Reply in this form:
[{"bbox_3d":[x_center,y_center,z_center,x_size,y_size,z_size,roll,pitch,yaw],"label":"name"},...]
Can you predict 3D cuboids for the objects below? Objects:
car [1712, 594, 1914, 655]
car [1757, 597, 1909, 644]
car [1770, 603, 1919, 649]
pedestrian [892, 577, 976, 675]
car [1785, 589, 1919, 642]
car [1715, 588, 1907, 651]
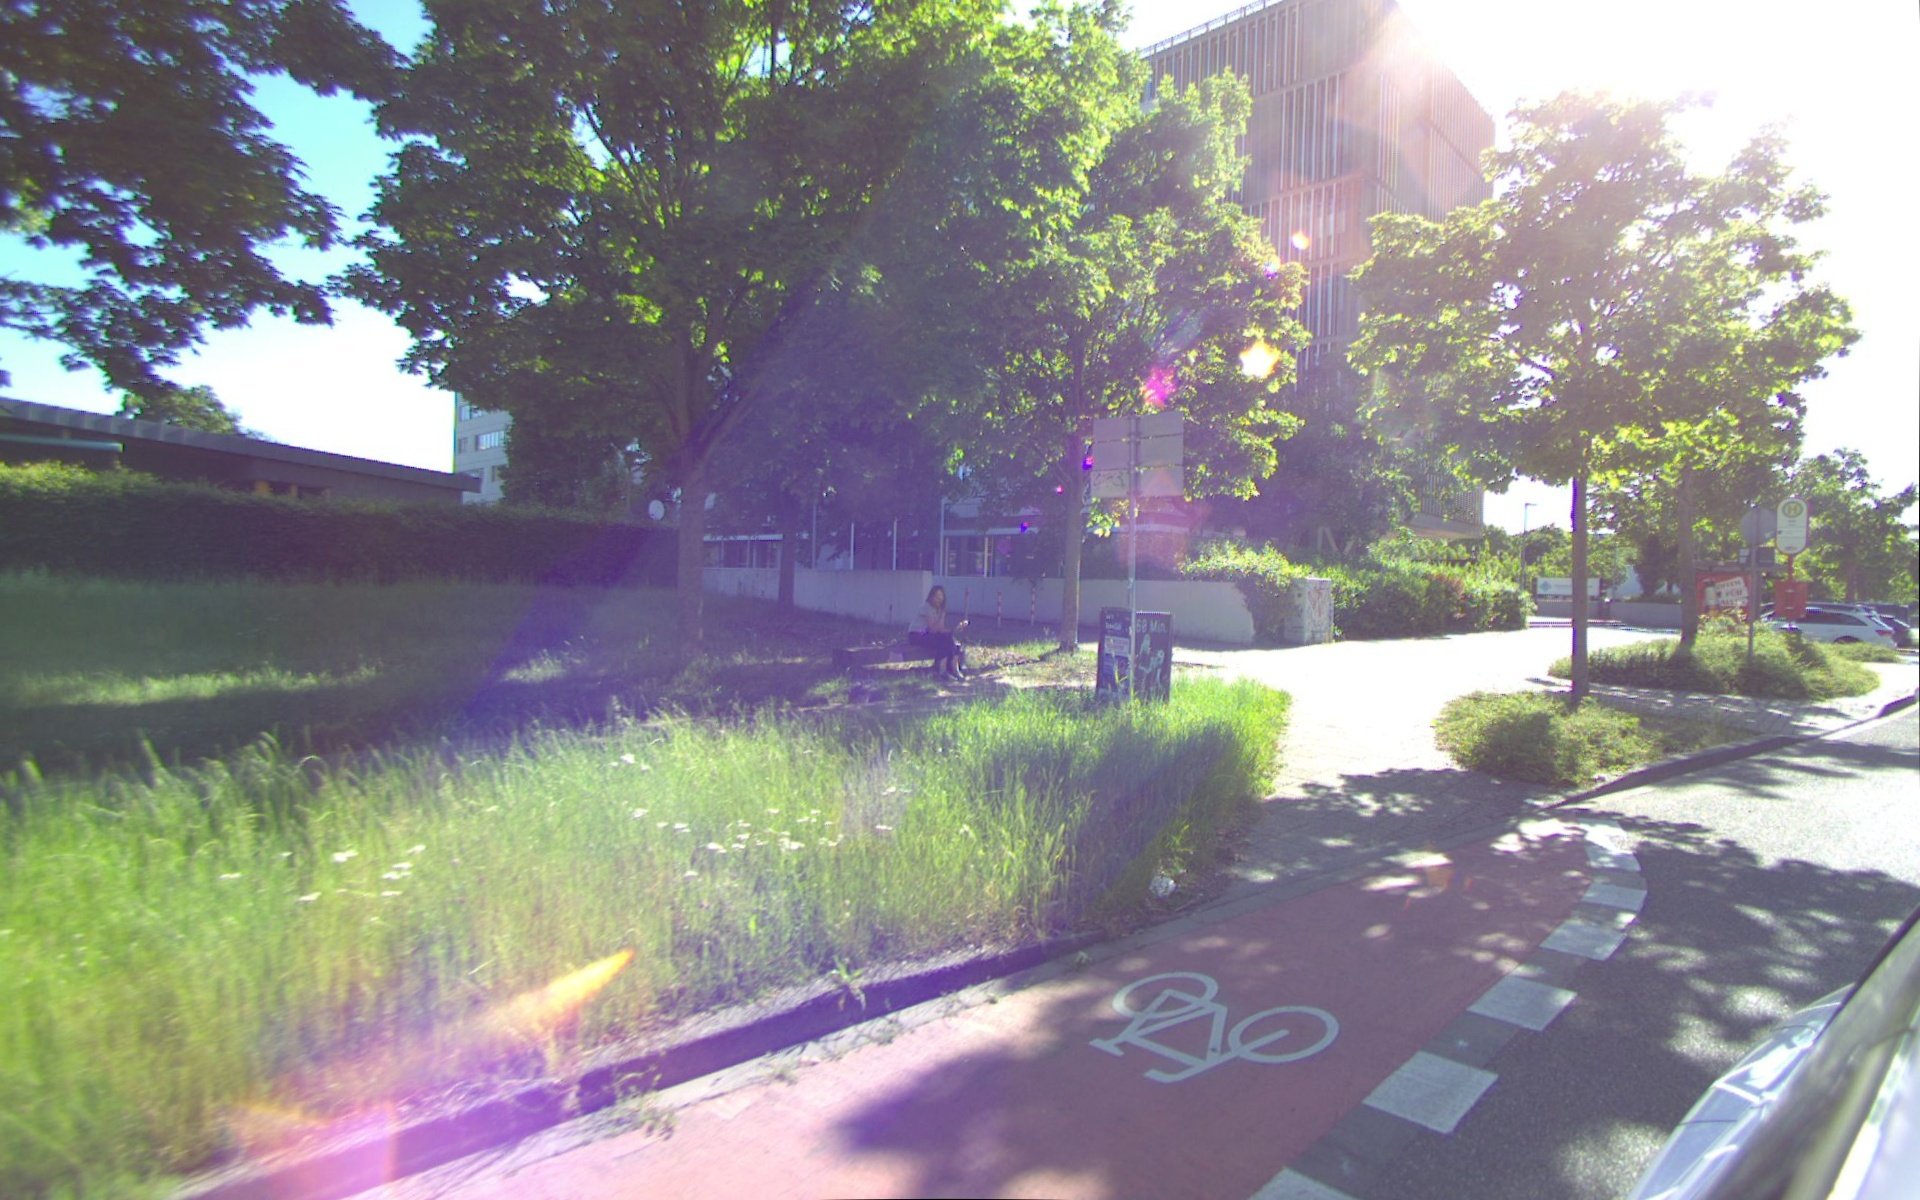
[{"bbox_3d":[25.018,0.658,29.780,4.404,1.481,1.865,4,2,45],"label":"car"},{"bbox_3d":[34.609,0.775,40.189,4.404,1.576,2.041,4,2,45],"label":"car"},{"bbox_3d":[33.362,0.925,37.989,4.404,1.427,2.041,4,2,45],"label":"car"},{"bbox_3d":[-0.348,0.327,13.638,0.841,1.232,0.720,3,2,32],"label":"pedestrian"},{"bbox_3d":[37.281,0.620,42.074,4.404,1.915,2.041,4,2,45],"label":"car"},{"bbox_3d":[26.514,0.541,31.618,4.404,1.661,2.041,4,2,45],"label":"car"}]
